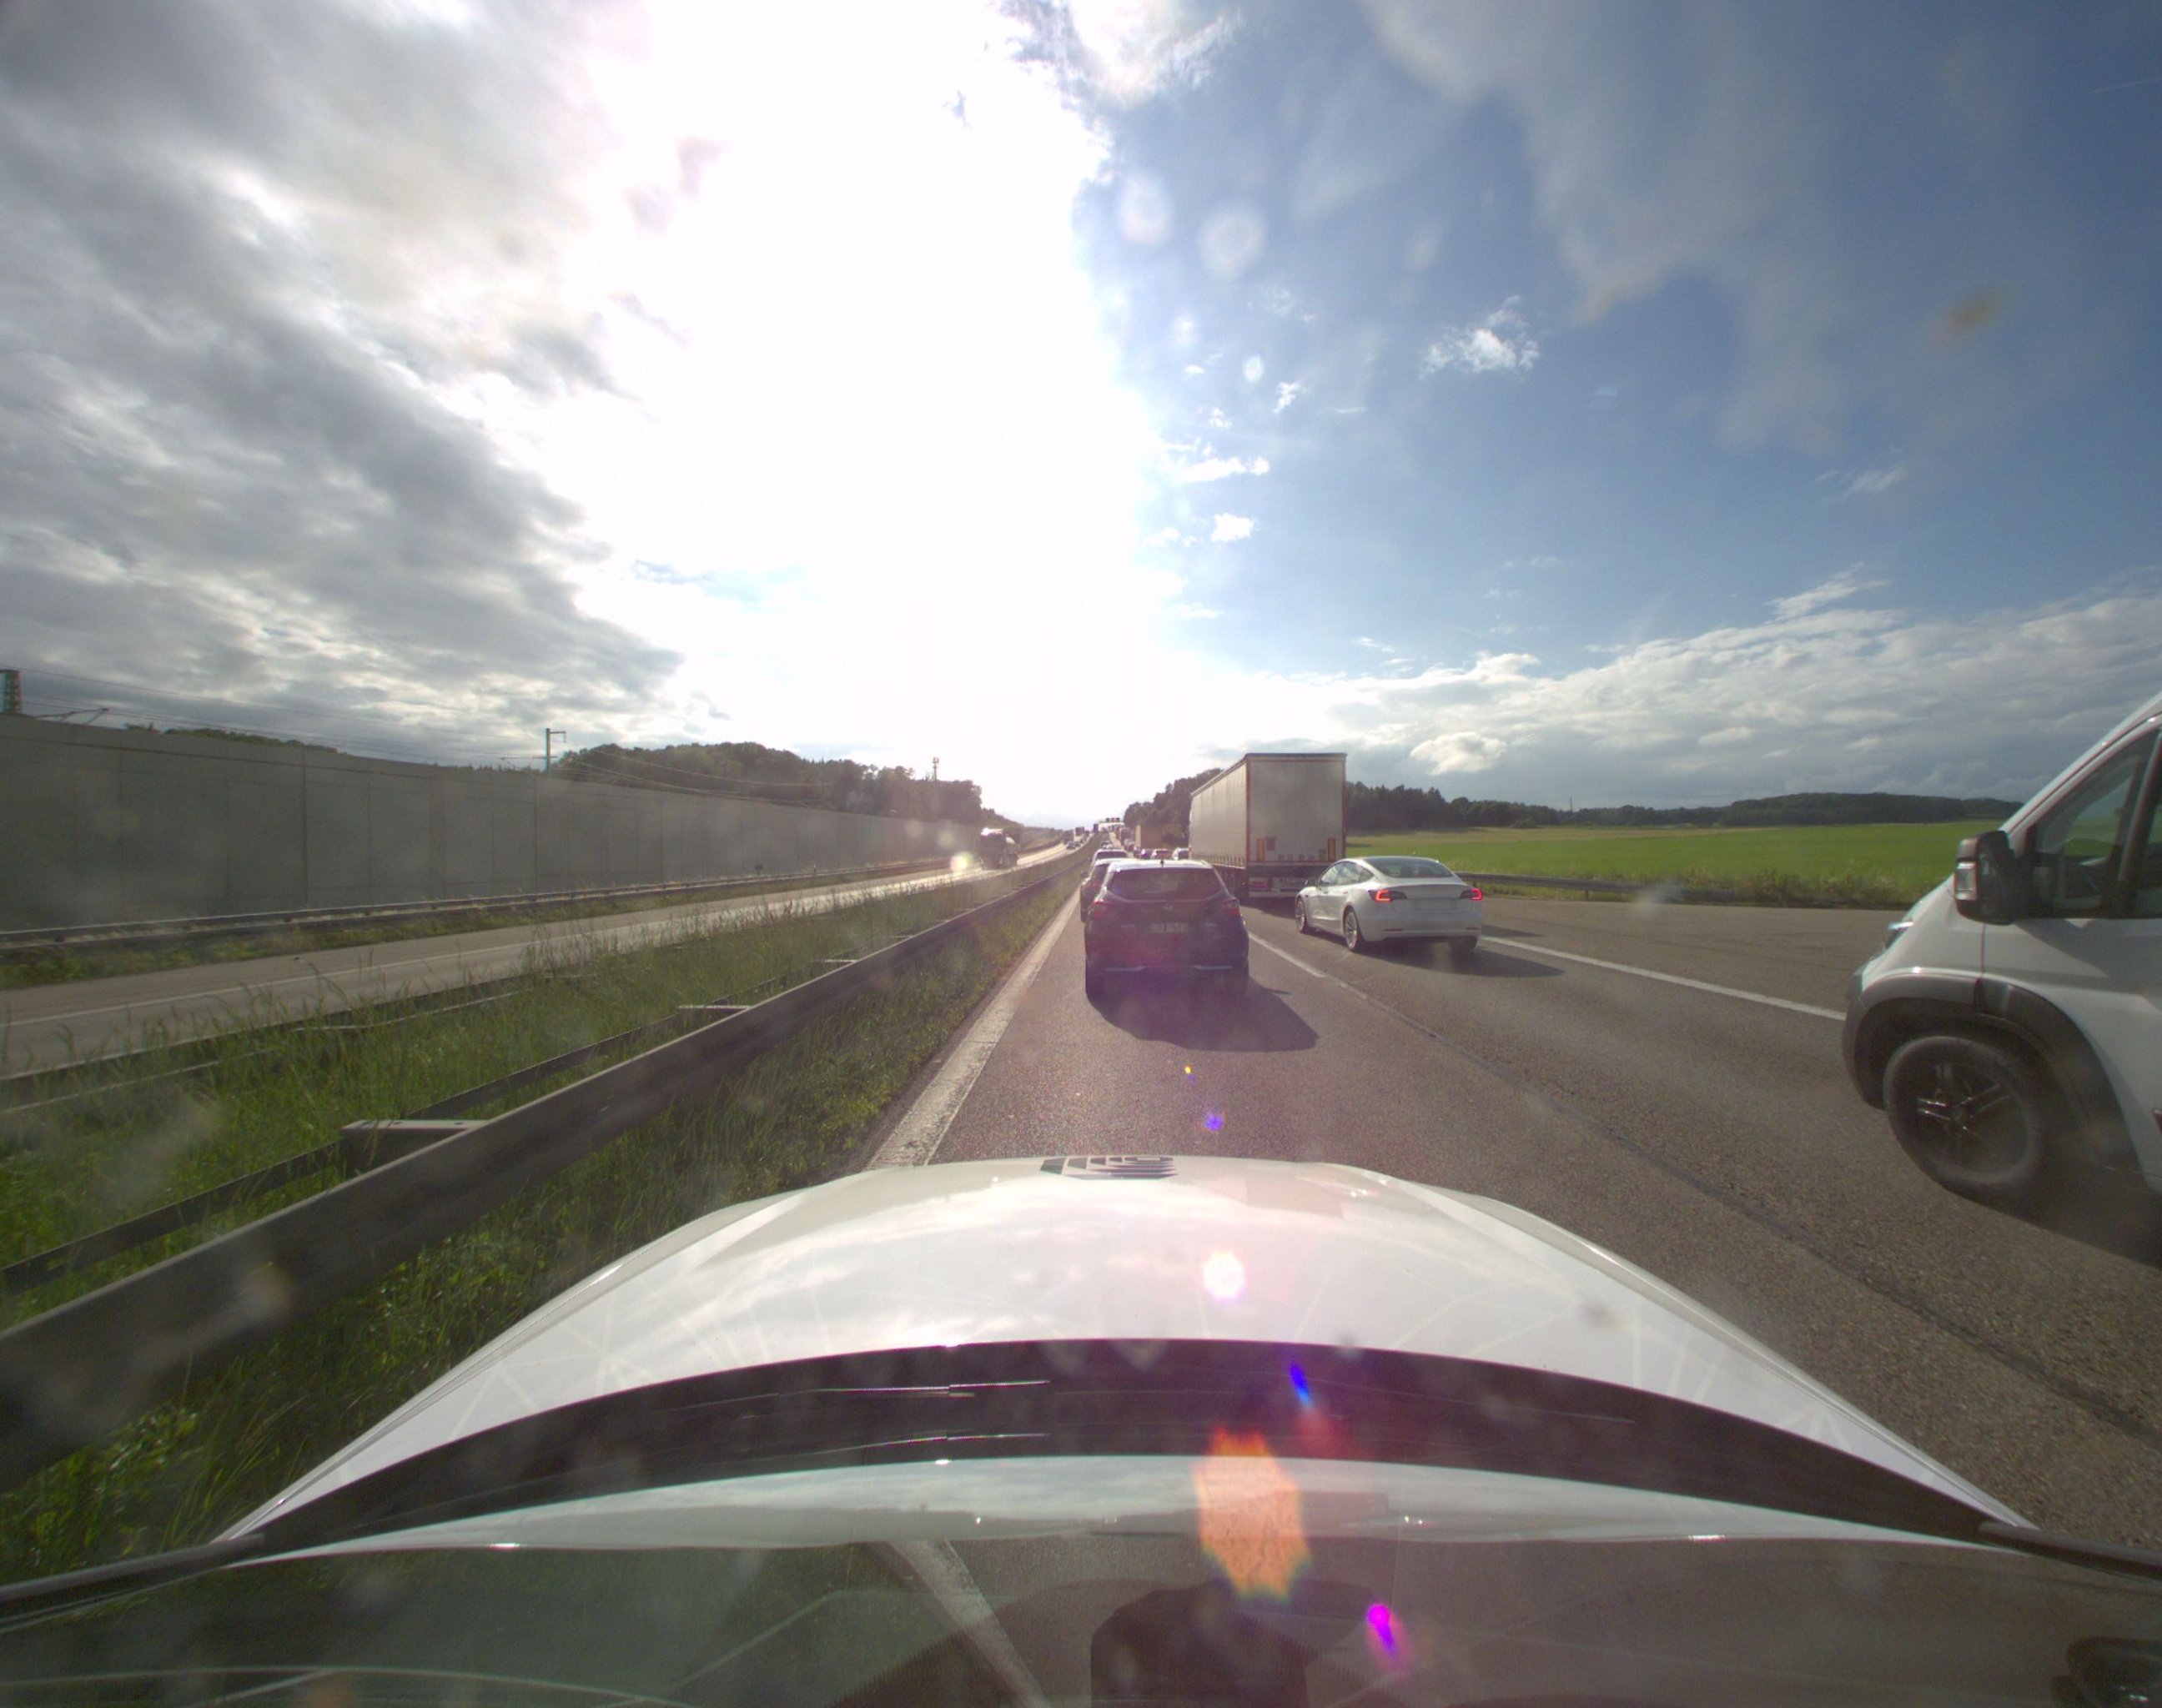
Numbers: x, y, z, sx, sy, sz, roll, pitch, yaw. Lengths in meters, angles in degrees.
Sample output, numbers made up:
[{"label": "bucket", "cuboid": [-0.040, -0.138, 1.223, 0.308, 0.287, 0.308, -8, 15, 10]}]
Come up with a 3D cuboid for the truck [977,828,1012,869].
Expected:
[{"label": "truck", "cuboid": [-8.724, -0.566, 82.801, 2.573, 3.923, 5.724, -2, 0, 2]}]

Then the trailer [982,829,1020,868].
[{"label": "trailer", "cuboid": [-8.581, -0.524, 88.749, 2.579, 3.902, 10.867, -2, 0, 1]}]

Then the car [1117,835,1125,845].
[{"label": "car", "cuboid": [9.902, -3.465, 200.209, 1.866, 2.158, 5.214, -1, 3, 2]}]

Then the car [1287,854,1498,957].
[{"label": "car", "cuboid": [4.884, 0.711, 13.518, 1.783, 1.394, 4.436, -1, 0, 0]}]

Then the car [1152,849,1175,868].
[{"label": "car", "cuboid": [7.826, 0.409, 77.734, 1.866, 1.644, 4.234, -1, 1, 2]}]

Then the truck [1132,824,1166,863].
[{"label": "truck", "cuboid": [8.248, -1.166, 100.689, 3.286, 4.577, 12.440, 0, -1, 1]}]

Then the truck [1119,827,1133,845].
[{"label": "truck", "cuboid": [12.372, -4.971, 225.731, 3.452, 4.576, 12.442, 0, 1, 1]}]

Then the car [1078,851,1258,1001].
[{"label": "car", "cuboid": [0.944, 0.728, 10.247, 1.766, 1.451, 4.234, -1, 0, 2]}]

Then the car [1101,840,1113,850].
[{"label": "car", "cuboid": [4.459, -1.528, 139.819, 1.867, 1.644, 4.233, -1, 1, 1]}]

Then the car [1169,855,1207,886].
[{"label": "car", "cuboid": [5.805, 0.869, 44.472, 1.690, 1.610, 4.440, -1, 0, 3]}]

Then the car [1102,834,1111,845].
[{"label": "car", "cuboid": [5.701, -3.304, 183.631, 1.866, 2.158, 5.214, -1, 3, 2]}]

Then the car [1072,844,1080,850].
[{"label": "car", "cuboid": [-1.167, -1.708, 201.498, 1.691, 1.499, 4.428, -1, 0, 1]}]

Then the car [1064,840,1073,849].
[{"label": "car", "cuboid": [-2.754, -2.109, 178.247, 1.774, 1.737, 4.104, -1, 0, 2]}]

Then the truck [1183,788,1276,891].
[{"label": "truck", "cuboid": [6.132, -0.520, 34.410, 3.121, 4.016, 5.166, -1, -1, 2]}]

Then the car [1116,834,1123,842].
[{"label": "car", "cuboid": [12.012, -5.045, 255.284, 1.866, 2.158, 5.214, -1, 3, 2]}]

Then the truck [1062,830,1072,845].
[{"label": "truck", "cuboid": [-3.938, -4.657, 230.775, 2.371, 4.181, 5.934, -2, 0, 2]}]

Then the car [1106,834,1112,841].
[{"label": "car", "cuboid": [8.626, -5.176, 252.248, 1.866, 2.158, 5.214, -1, 3, 2]}]

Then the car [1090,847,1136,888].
[{"label": "car", "cuboid": [1.391, 0.560, 35.535, 1.866, 1.644, 4.234, -1, 0, 2]}]

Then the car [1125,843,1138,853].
[{"label": "car", "cuboid": [8.909, -1.047, 143.110, 1.868, 1.644, 4.230, -1, 1, -1]}]

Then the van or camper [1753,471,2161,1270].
[{"label": "van or camper", "cuboid": [4.691, 0.034, 1.211, 2.207, 2.681, 6.334, -1, 0, 1]}]

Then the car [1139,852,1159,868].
[{"label": "car", "cuboid": [7.249, 0.646, 87.255, 1.866, 1.644, 4.234, -1, 0, 2]}]

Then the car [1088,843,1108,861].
[{"label": "car", "cuboid": [1.734, -0.197, 79.841, 1.866, 1.644, 4.234, -1, 1, 2]}]

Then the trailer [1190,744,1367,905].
[{"label": "trailer", "cuboid": [5.822, -0.622, 27.051, 3.118, 4.011, 13.373, -1, -1, 2]}]

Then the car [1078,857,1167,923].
[{"label": "car", "cuboid": [0.965, 0.772, 19.458, 1.866, 1.358, 4.234, -1, 0, 2]}]
